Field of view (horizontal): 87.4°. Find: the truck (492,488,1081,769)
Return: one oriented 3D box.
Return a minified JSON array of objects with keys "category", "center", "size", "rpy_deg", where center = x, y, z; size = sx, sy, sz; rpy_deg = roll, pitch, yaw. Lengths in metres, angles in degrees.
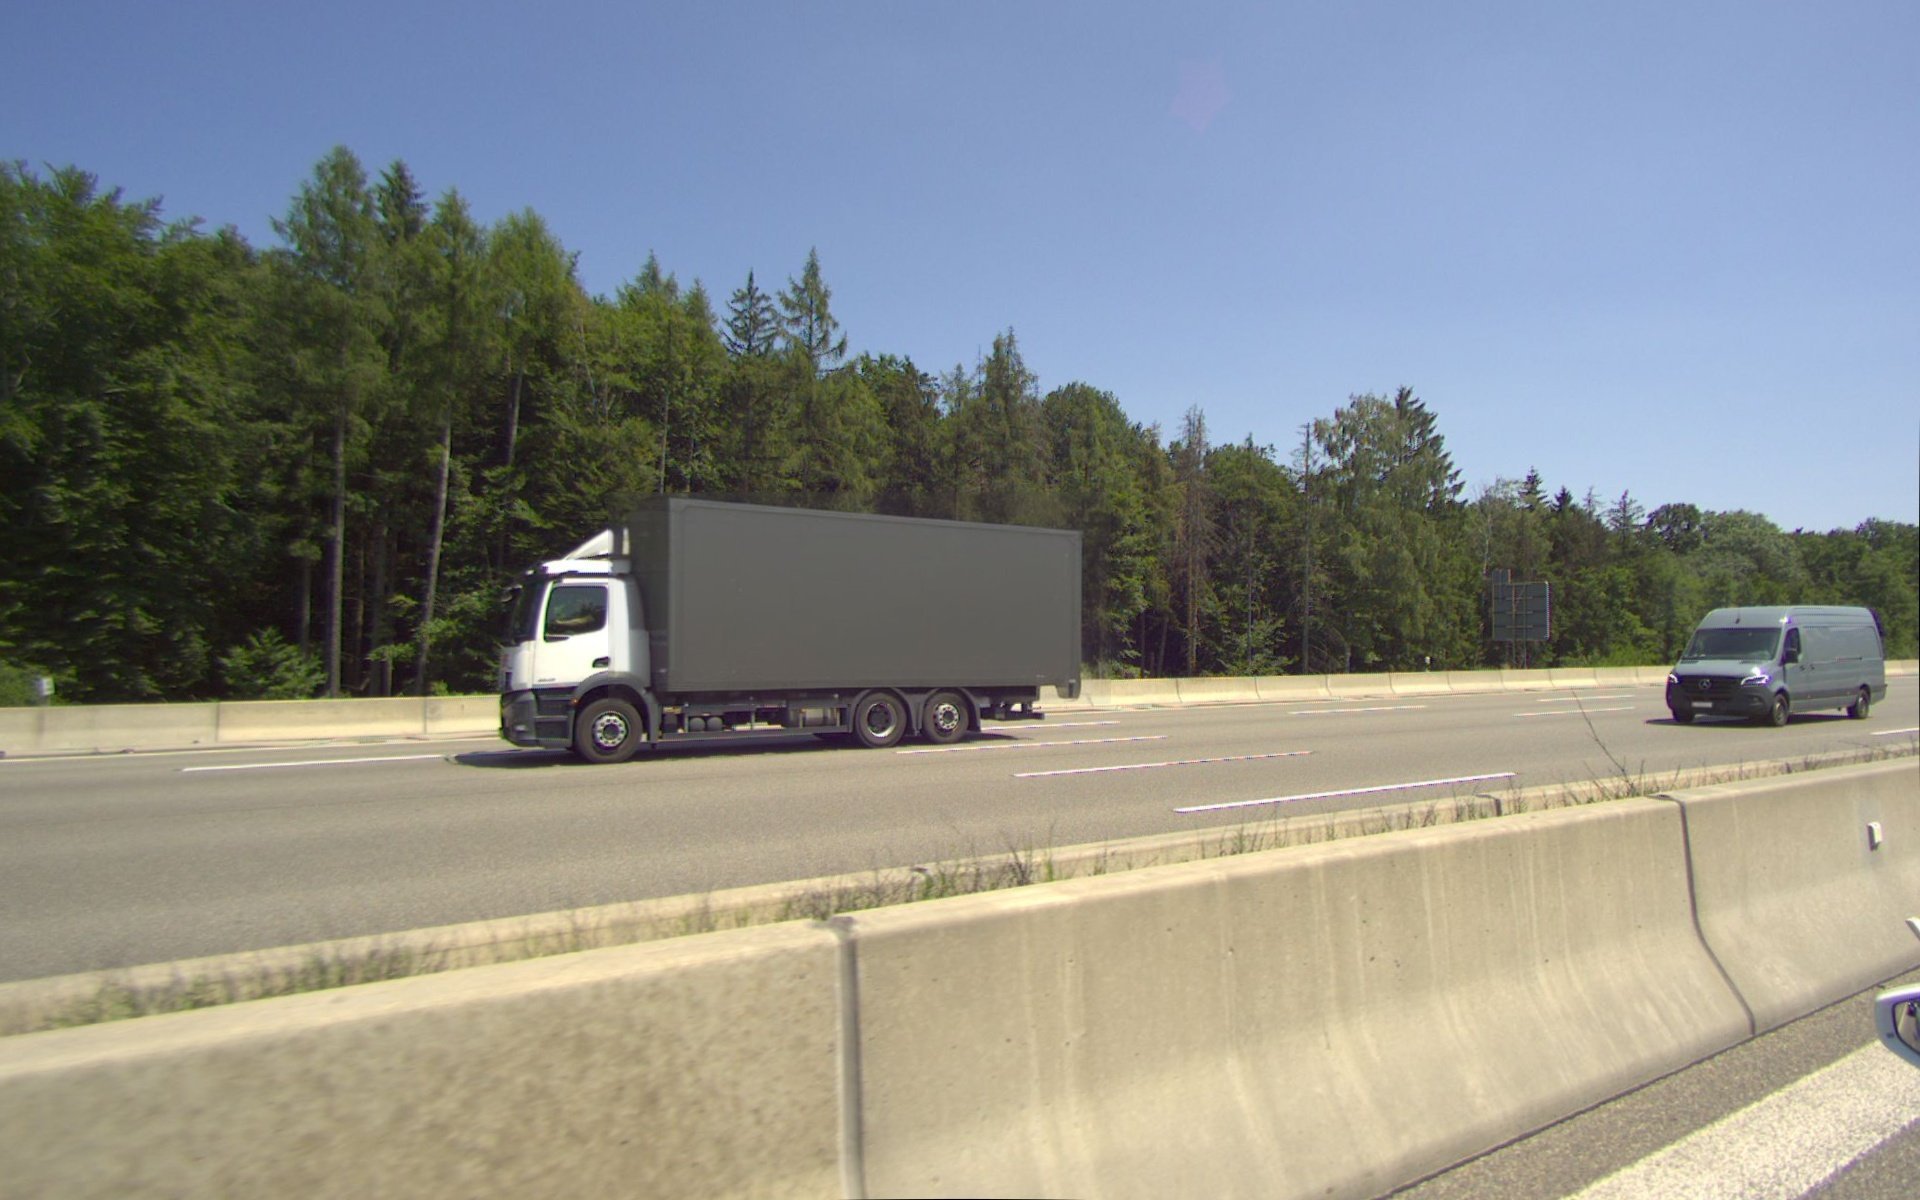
[{"category":"truck","center":[-2.670,0.612,18.018],"size":[10.117,3.990,2.707],"rpy_deg":[2,-3,-31]}]

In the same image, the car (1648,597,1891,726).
[{"category":"car","center":[18.780,1.351,23.170],"size":[7.145,2.641,1.921],"rpy_deg":[1,-3,-31]}]
